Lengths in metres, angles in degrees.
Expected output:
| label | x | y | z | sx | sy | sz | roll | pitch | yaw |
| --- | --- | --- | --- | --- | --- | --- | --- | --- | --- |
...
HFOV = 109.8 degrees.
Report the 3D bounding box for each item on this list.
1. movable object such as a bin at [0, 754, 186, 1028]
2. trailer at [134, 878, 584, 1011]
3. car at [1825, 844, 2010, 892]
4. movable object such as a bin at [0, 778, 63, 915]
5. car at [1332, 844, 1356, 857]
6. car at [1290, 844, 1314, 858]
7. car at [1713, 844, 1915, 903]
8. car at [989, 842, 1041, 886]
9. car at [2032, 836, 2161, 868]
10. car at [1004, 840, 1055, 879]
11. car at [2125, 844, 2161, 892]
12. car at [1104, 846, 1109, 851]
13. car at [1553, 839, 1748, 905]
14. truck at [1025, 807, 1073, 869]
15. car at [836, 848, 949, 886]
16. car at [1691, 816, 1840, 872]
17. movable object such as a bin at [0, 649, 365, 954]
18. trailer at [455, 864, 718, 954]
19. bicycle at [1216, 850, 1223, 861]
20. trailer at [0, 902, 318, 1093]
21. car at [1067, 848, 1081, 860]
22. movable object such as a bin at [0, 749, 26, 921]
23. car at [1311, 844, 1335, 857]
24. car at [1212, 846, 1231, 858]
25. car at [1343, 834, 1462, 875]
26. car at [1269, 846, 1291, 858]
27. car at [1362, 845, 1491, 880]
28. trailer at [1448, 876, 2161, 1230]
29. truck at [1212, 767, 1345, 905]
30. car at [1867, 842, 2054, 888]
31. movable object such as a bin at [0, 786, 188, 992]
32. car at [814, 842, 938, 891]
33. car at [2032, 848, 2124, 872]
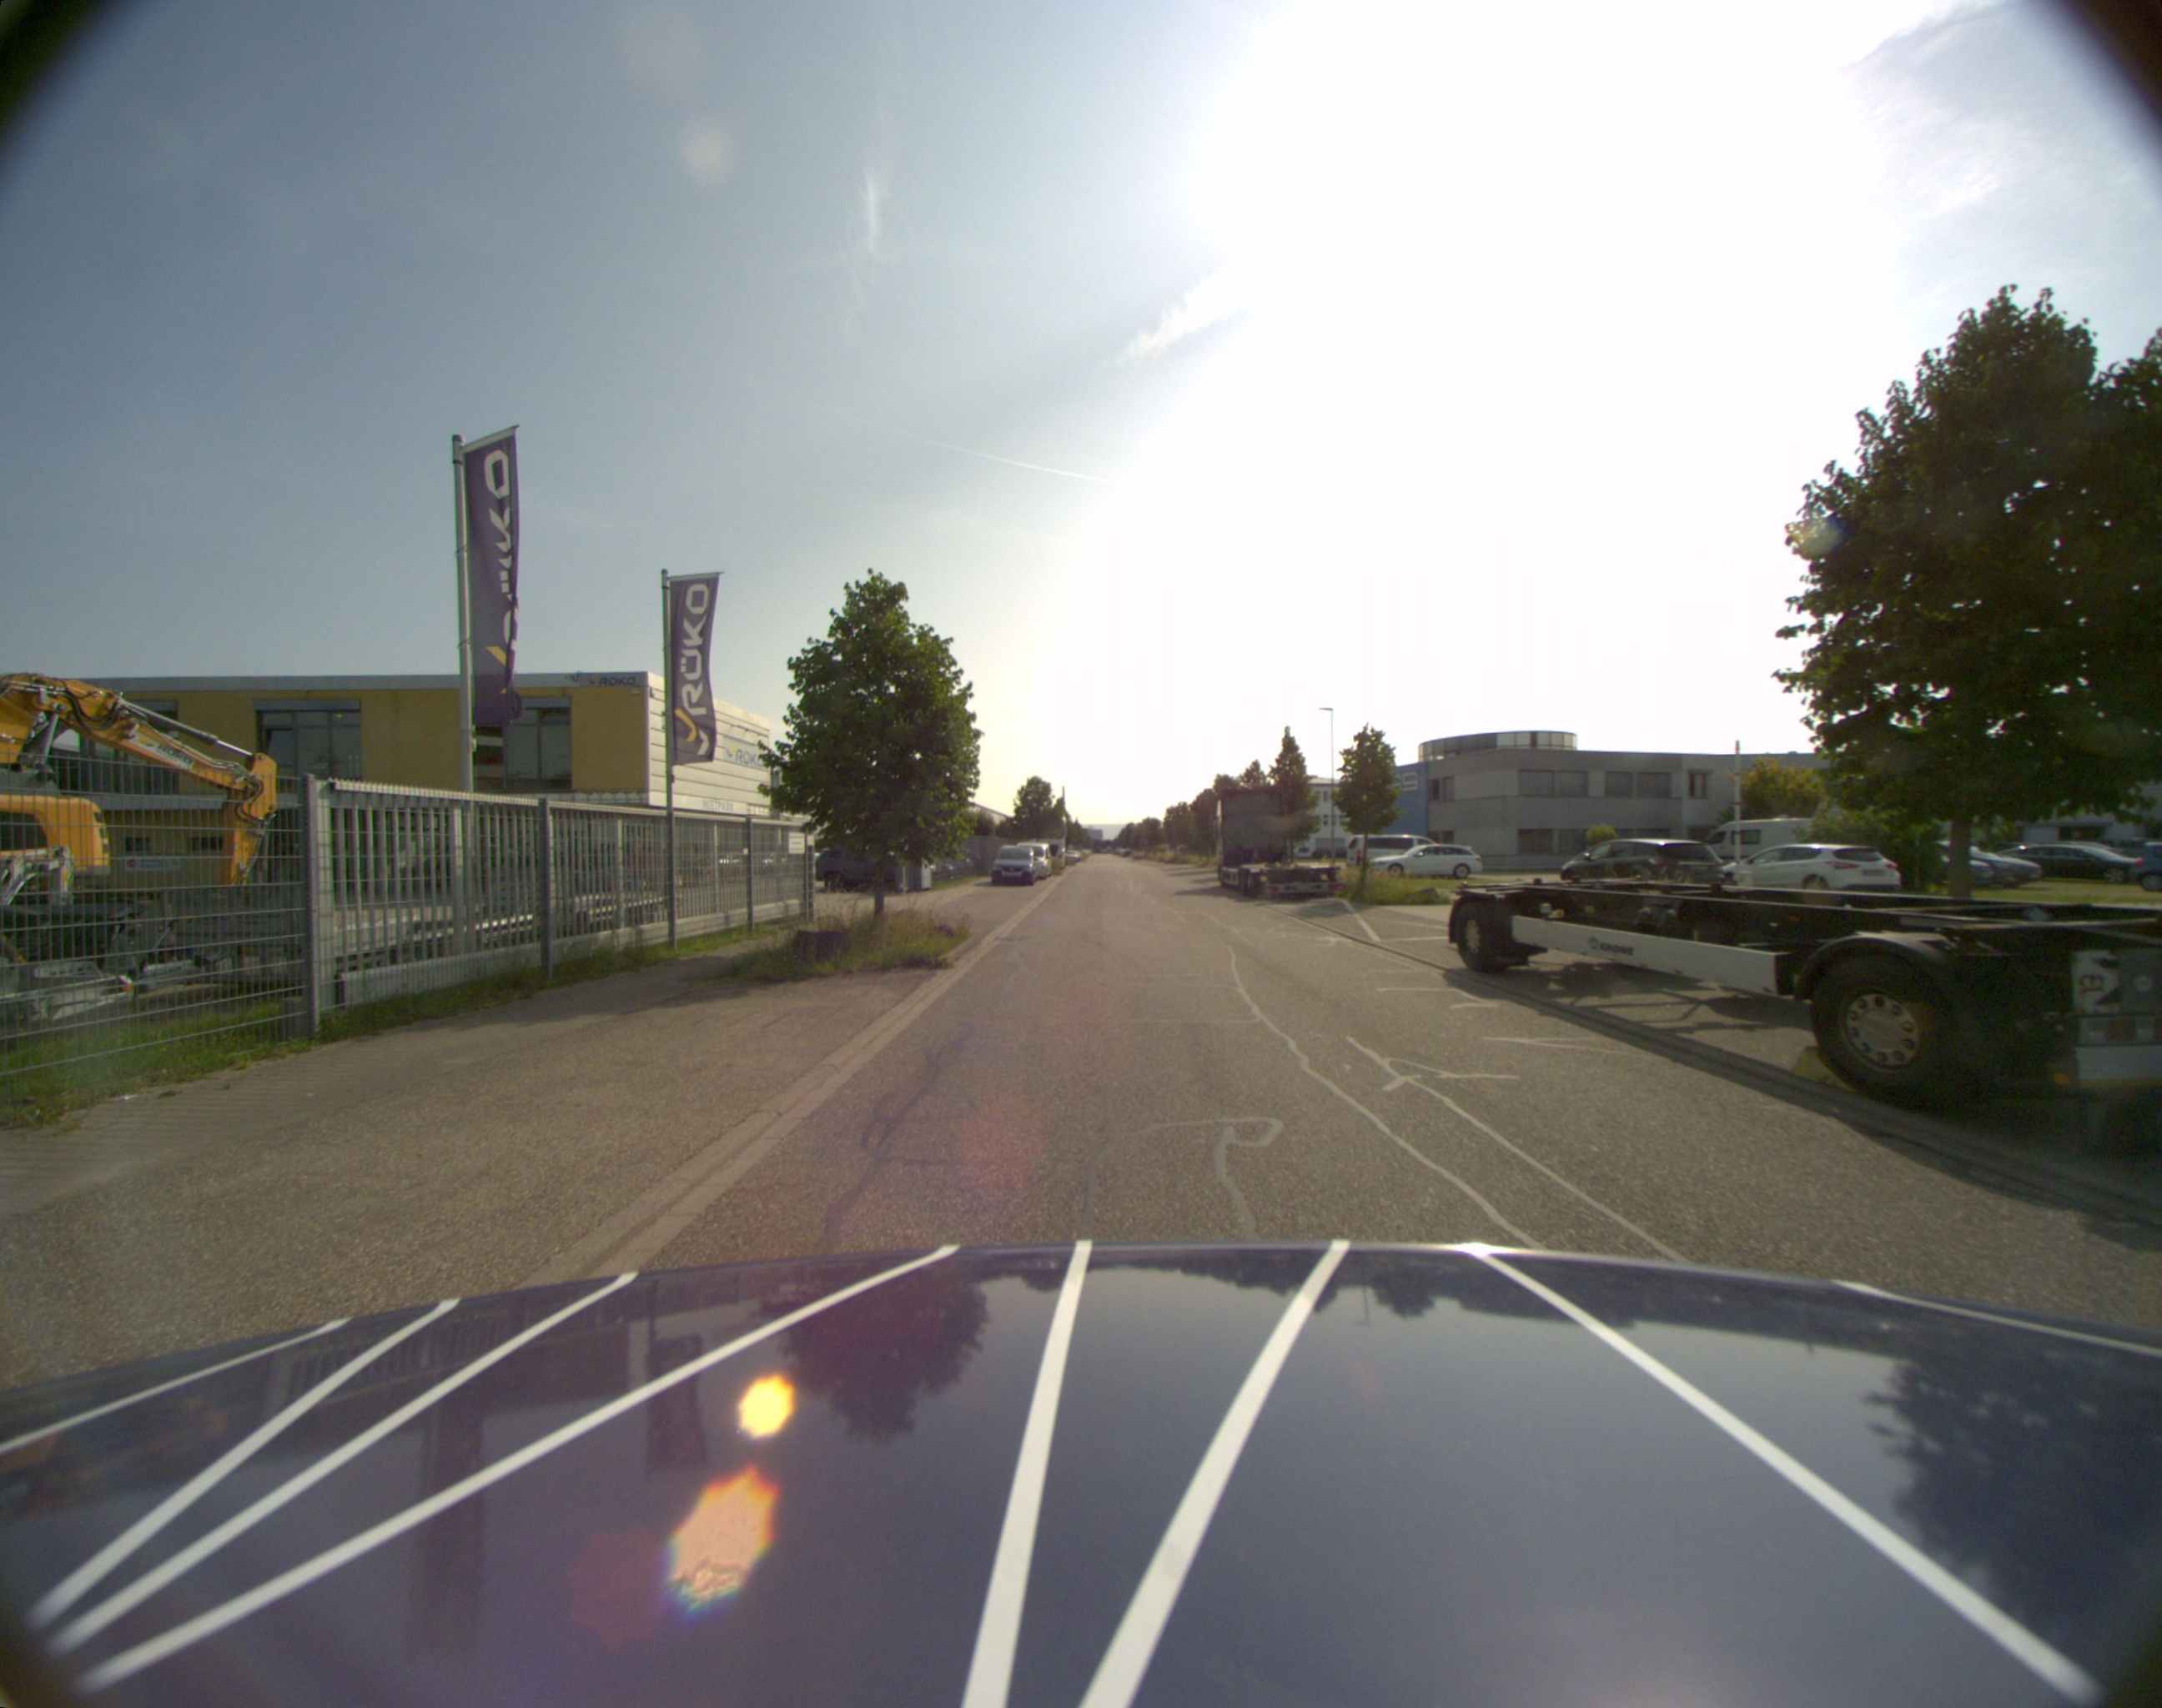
| label | x | y | z | sx | sy | sz | roll | pitch | yaw |
| --- | --- | --- | --- | --- | --- | --- | --- | --- | --- |
| movable object such as a bin | -11.782 | 0.389 | 6.539 | 1.891 | 2.736 | 5.160 | 0 | 1 | 2 |
| trailer | -9.111 | 1.036 | 10.265 | 1.949 | 1.236 | 4.293 | 0 | 1 | 0 |
| car | 28.594 | 0.420 | 26.211 | 1.709 | 1.507 | 4.212 | 0 | 1 | 0 |
| movable object such as a bin | -22.734 | -0.144 | 12.763 | 2.707 | 2.700 | 6.348 | 0 | 0 | 0 |
| car | 31.691 | -0.418 | 91.611 | 1.758 | 1.459 | 3.918 | -1 | 1 | 3 |
| car | 26.761 | -0.392 | 92.121 | 1.910 | 1.609 | 3.918 | -1 | 1 | 3 |
| car | 20.734 | 0.479 | 21.790 | 1.709 | 1.507 | 4.212 | 0 | 1 | 0 |
| car | -2.788 | 0.377 | 33.043 | 1.830 | 1.710 | 4.248 | -1 | 2 | 0 |
| car | 55.180 | -0.131 | 41.369 | 1.801 | 1.679 | 3.999 | 0 | 1 | 0 |
| car | -2.507 | 0.232 | 38.111 | 1.998 | 1.779 | 4.599 | -1 | 2 | 3 |
| car | 34.334 | 0.446 | 22.265 | 1.902 | 1.434 | 3.994 | -1 | 1 | -16 |
| car | 8.729 | -1.927 | 258.845 | 1.668 | 1.495 | 3.540 | -1 | 2 | 1 |
| car | 15.879 | 0.435 | 21.581 | 1.998 | 1.677 | 4.698 | 0 | 1 | 0 |
| truck | -2.130 | -1.068 | 54.280 | 2.752 | 3.992 | 9.685 | 1 | 0 | 1 |
| car | -7.754 | 0.529 | 31.582 | 4.236 | 1.487 | 1.899 | -1 | 0 | -2 |
| car | 35.377 | -0.540 | 39.550 | 1.712 | 2.679 | 5.743 | -1 | 1 | -15 |
| movable object such as a bin | -18.593 | -0.819 | 14.075 | 3.324 | 4.778 | 7.672 | 0 | 0 | 0 |
| trailer | -9.299 | 0.948 | 14.887 | 1.998 | 1.303 | 4.563 | -1 | 2 | 3 |
| bicycle | 12.910 | 0.115 | 70.786 | 0.541 | 0.973 | 1.871 | -1 | 1 | 5 |
| trailer | -8.995 | 1.144 | 5.469 | 2.131 | 1.236 | 4.795 | 0 | 1 | 0 |
| car | -0.929 | 0.022 | 96.634 | 1.668 | 1.495 | 3.541 | 1 | 1 | 1 |
| movable object such as a bin | -25.976 | -0.420 | 14.019 | 2.925 | 3.906 | 7.207 | 0 | 0 | 0 |
| car | 29.255 | -0.409 | 91.921 | 1.758 | 1.459 | 3.918 | -1 | 1 | 3 |
| car | 17.092 | -0.242 | 92.513 | 1.758 | 1.401 | 3.918 | -1 | 1 | 3 |
| car | 15.051 | 0.004 | 35.773 | 4.715 | 1.825 | 2.103 | 0 | 1 | 2 |
| car | 24.171 | -0.289 | 92.341 | 1.758 | 1.459 | 3.918 | -1 | 1 | 3 |
| car | 14.977 | 0.341 | 33.098 | 4.739 | 1.423 | 1.999 | -1 | 1 | -1 |
| trailer | 5.889 | 0.967 | 6.800 | 2.134 | 1.225 | 7.159 | -2 | 0 | 4 |
| truck | 6.521 | -0.620 | 26.708 | 2.461 | 3.860 | 9.802 | -2 | 1 | 3 |
| car | 30.931 | 0.325 | 26.937 | 1.709 | 1.507 | 4.212 | 0 | 1 | 0 |
| movable object such as a bin | -13.909 | 0.431 | 8.482 | 1.997 | 2.444 | 4.765 | 0 | 1 | 5 |
| car | -7.640 | 0.434 | 28.689 | 4.237 | 1.727 | 1.898 | -1 | 1 | -6 |
| car | 51.837 | 0.276 | 39.570 | 1.090 | 1.170 | 2.711 | 0 | 1 | -7 |
